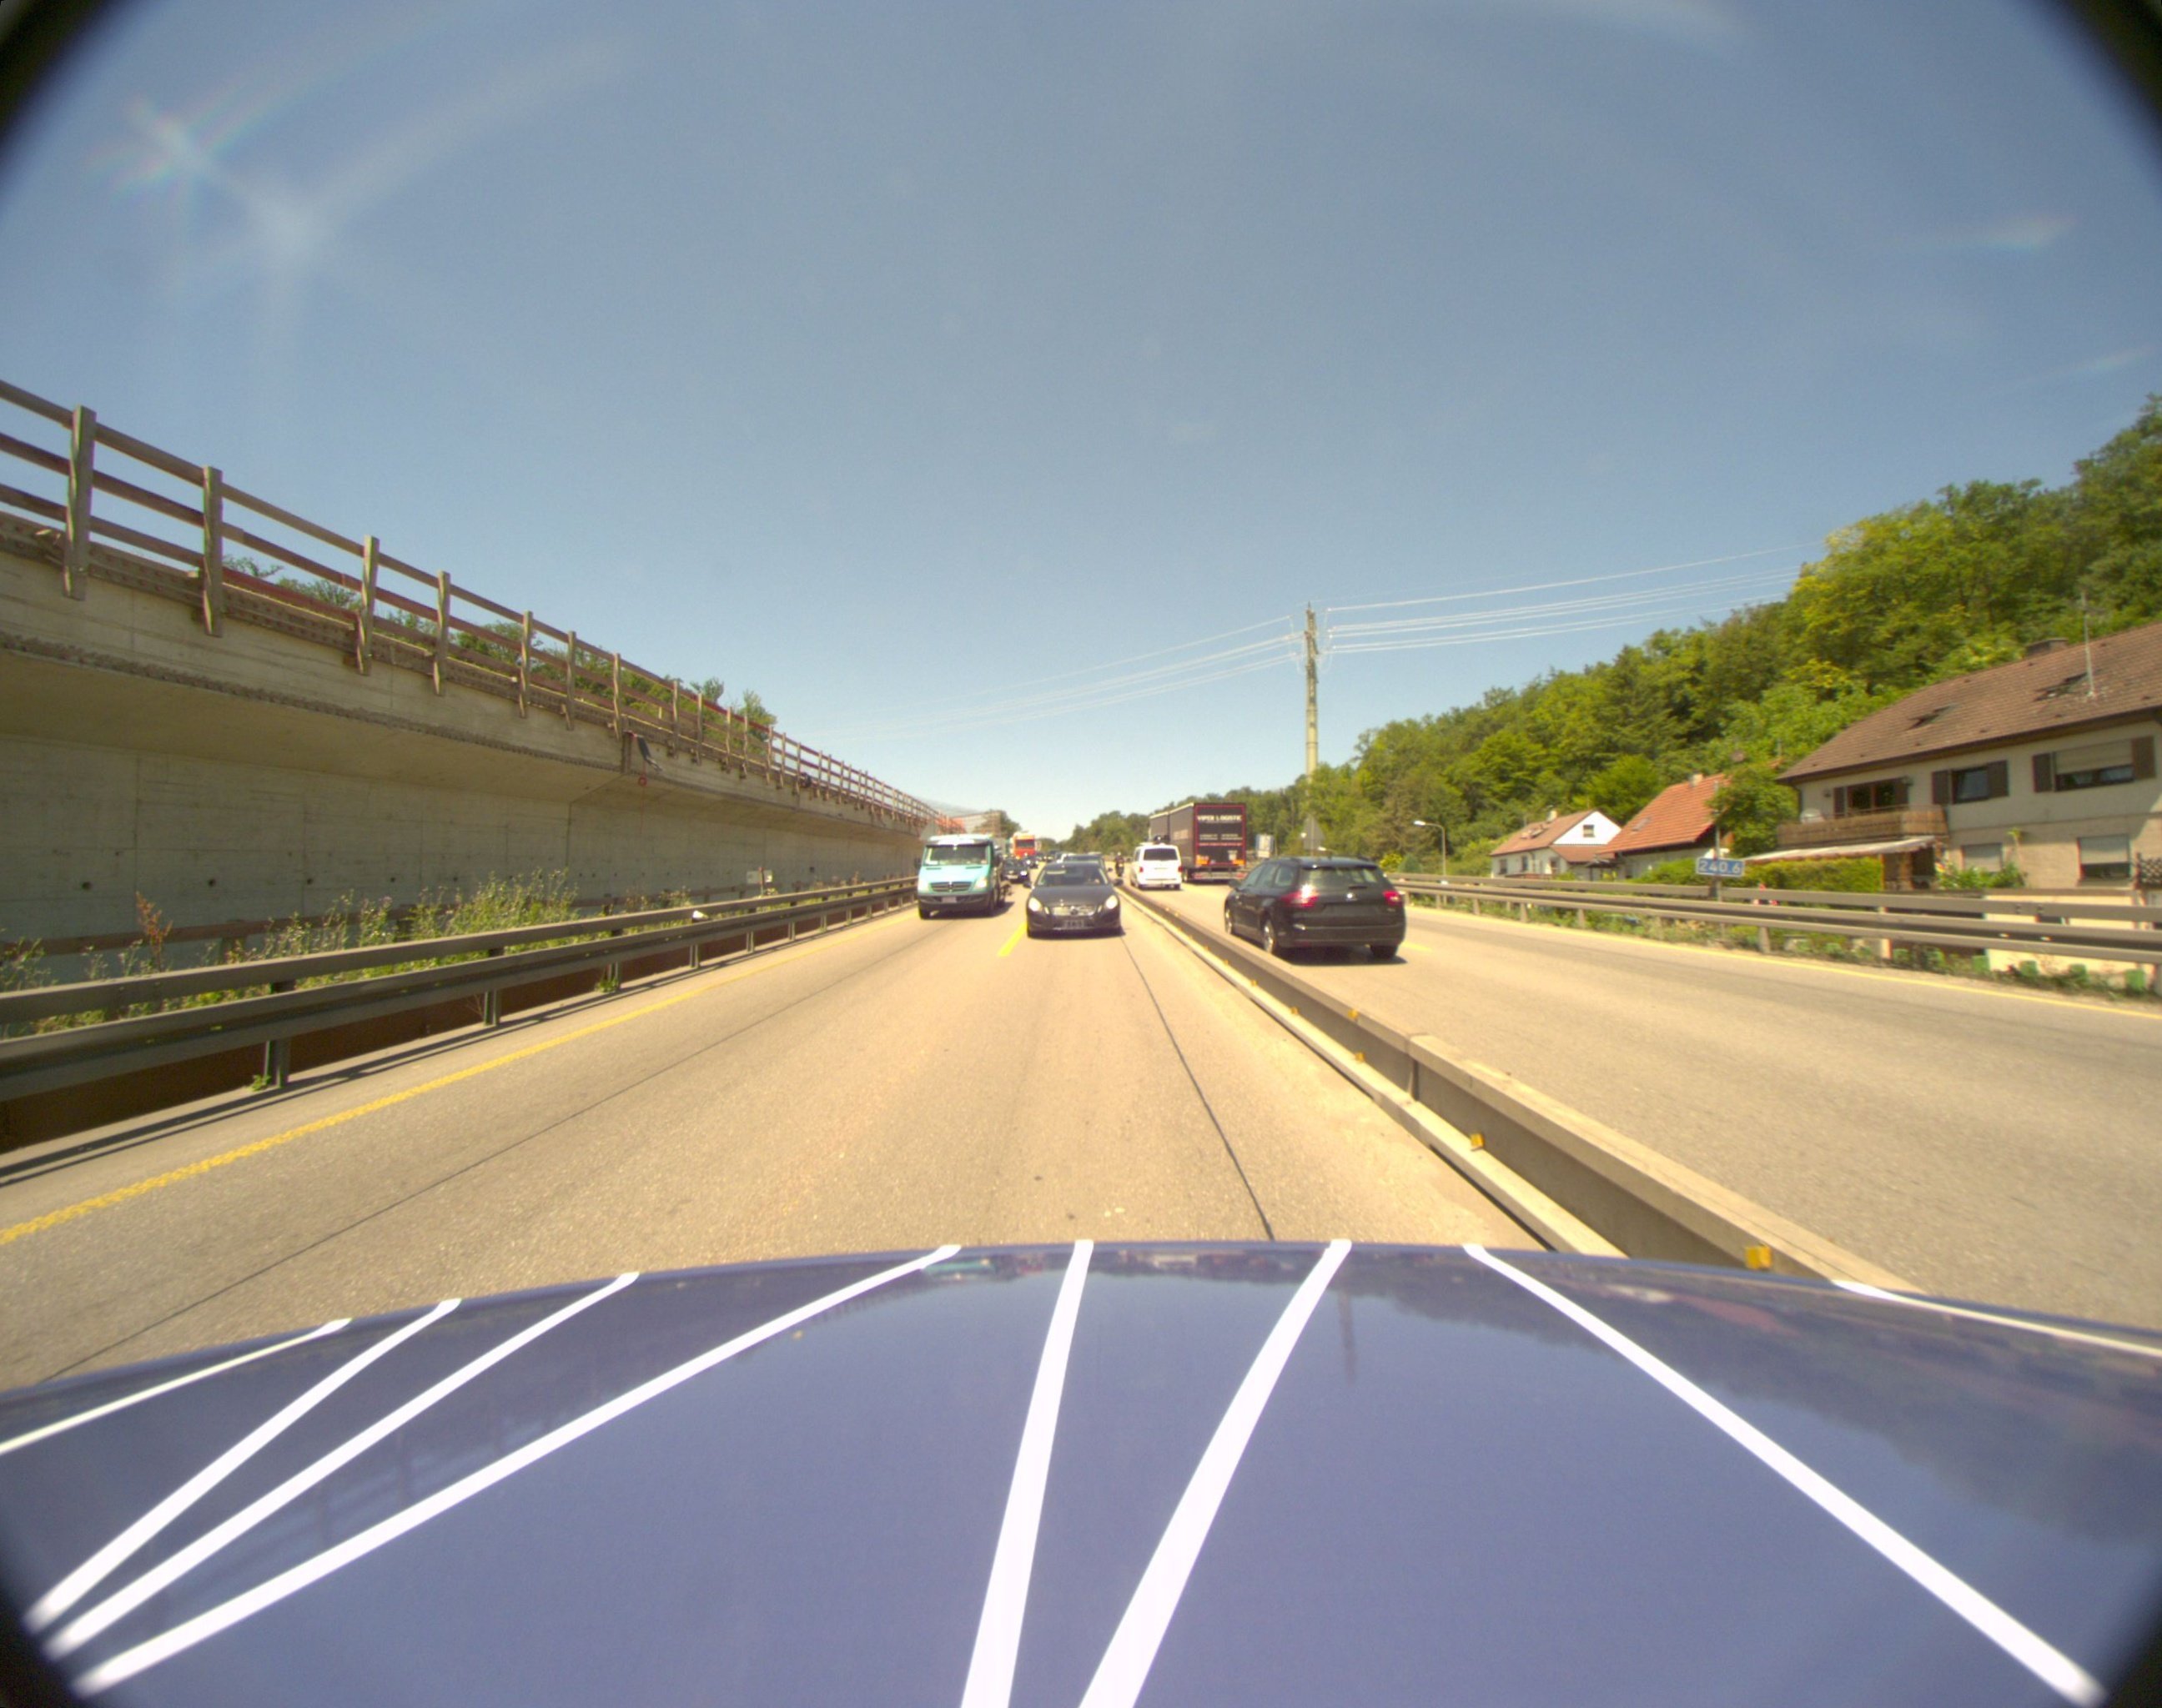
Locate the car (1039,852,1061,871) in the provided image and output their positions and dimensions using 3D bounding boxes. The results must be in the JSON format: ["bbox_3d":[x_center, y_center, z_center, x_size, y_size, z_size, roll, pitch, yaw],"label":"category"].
[{"bbox_3d":[-2.469,0.606,60.966,1.647,1.366,3.343,-2,1,-2],"label":"car"}]

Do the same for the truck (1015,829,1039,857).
[{"bbox_3d":[-7.136,-1.454,99.039,2.472,3.464,9.860,-2,1,-7],"label":"truck"}]

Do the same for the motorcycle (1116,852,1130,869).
[{"bbox_3d":[2.773,0.435,50.866,0.788,1.073,1.912,-2,0,0],"label":"motorcycle"}]

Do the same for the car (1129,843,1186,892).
[{"bbox_3d":[3.356,0.538,34.244,2.027,1.949,4.897,-2,1,0],"label":"car"}]

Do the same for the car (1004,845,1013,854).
[{"bbox_3d":[-14.778,-0.907,154.321,1.586,1.666,3.343,-2,1,-2],"label":"car"}]

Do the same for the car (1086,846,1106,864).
[{"bbox_3d":[1.469,0.082,76.058,1.864,1.602,4.067,-2,1,-1],"label":"car"}]

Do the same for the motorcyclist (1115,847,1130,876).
[{"bbox_3d":[2.778,0.500,50.885,0.855,1.844,0.983,-2,0,-1],"label":"motorcyclist"}]

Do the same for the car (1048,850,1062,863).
[{"bbox_3d":[-3.145,0.287,90.848,1.586,1.366,3.343,-2,1,-2],"label":"car"}]

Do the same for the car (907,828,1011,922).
[{"bbox_3d":[-3.379,0.466,22.502,2.217,2.312,6.899,-1,1,-2],"label":"car"}]

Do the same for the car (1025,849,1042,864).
[{"bbox_3d":[-4.834,0.237,77.664,1.647,1.366,3.343,-2,1,-2],"label":"car"}]

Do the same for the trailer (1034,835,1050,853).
[{"bbox_3d":[-10.419,-2.692,203.412,3.262,4.354,14.047,-2,1,-6],"label":"trailer"}]

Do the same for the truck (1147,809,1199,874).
[{"bbox_3d":[6.289,-0.820,52.730,2.759,4.258,4.956,-2,0,-1],"label":"truck"}]

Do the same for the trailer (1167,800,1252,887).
[{"bbox_3d":[6.565,-0.457,40.170,2.764,4.046,8.634,-2,0,-1],"label":"trailer"}]

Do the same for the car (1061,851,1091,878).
[{"bbox_3d":[-0.346,0.647,48.109,1.736,1.558,3.618,-2,1,-2],"label":"car"}]

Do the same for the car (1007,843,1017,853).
[{"bbox_3d":[-11.779,-0.979,129.857,1.586,1.660,3.343,-2,1,-2],"label":"car"}]

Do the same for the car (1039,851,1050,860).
[{"bbox_3d":[-5.671,0.235,118.628,1.586,1.366,3.343,-2,1,-2],"label":"car"}]

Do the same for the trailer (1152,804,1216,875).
[{"bbox_3d":[6.396,-0.808,48.504,2.764,4.046,8.007,-2,0,-1],"label":"trailer"}]

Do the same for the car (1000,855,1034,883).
[{"bbox_3d":[-3.615,0.819,43.277,1.739,1.401,3.584,-2,1,-2],"label":"car"}]

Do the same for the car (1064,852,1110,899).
[{"bbox_3d":[0.170,0.752,28.540,1.520,1.543,3.859,-1,1,-2],"label":"car"}]

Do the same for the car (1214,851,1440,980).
[{"bbox_3d":[3.543,0.774,11.997,1.999,1.495,4.648,-2,1,0],"label":"car"}]

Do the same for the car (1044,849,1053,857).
[{"bbox_3d":[-6.558,-0.182,153.770,1.586,1.366,3.343,-2,1,-2],"label":"car"}]

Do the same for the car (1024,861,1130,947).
[{"bbox_3d":[-0.235,0.926,16.075,1.845,1.475,4.560,-1,0,-5],"label":"car"}]
